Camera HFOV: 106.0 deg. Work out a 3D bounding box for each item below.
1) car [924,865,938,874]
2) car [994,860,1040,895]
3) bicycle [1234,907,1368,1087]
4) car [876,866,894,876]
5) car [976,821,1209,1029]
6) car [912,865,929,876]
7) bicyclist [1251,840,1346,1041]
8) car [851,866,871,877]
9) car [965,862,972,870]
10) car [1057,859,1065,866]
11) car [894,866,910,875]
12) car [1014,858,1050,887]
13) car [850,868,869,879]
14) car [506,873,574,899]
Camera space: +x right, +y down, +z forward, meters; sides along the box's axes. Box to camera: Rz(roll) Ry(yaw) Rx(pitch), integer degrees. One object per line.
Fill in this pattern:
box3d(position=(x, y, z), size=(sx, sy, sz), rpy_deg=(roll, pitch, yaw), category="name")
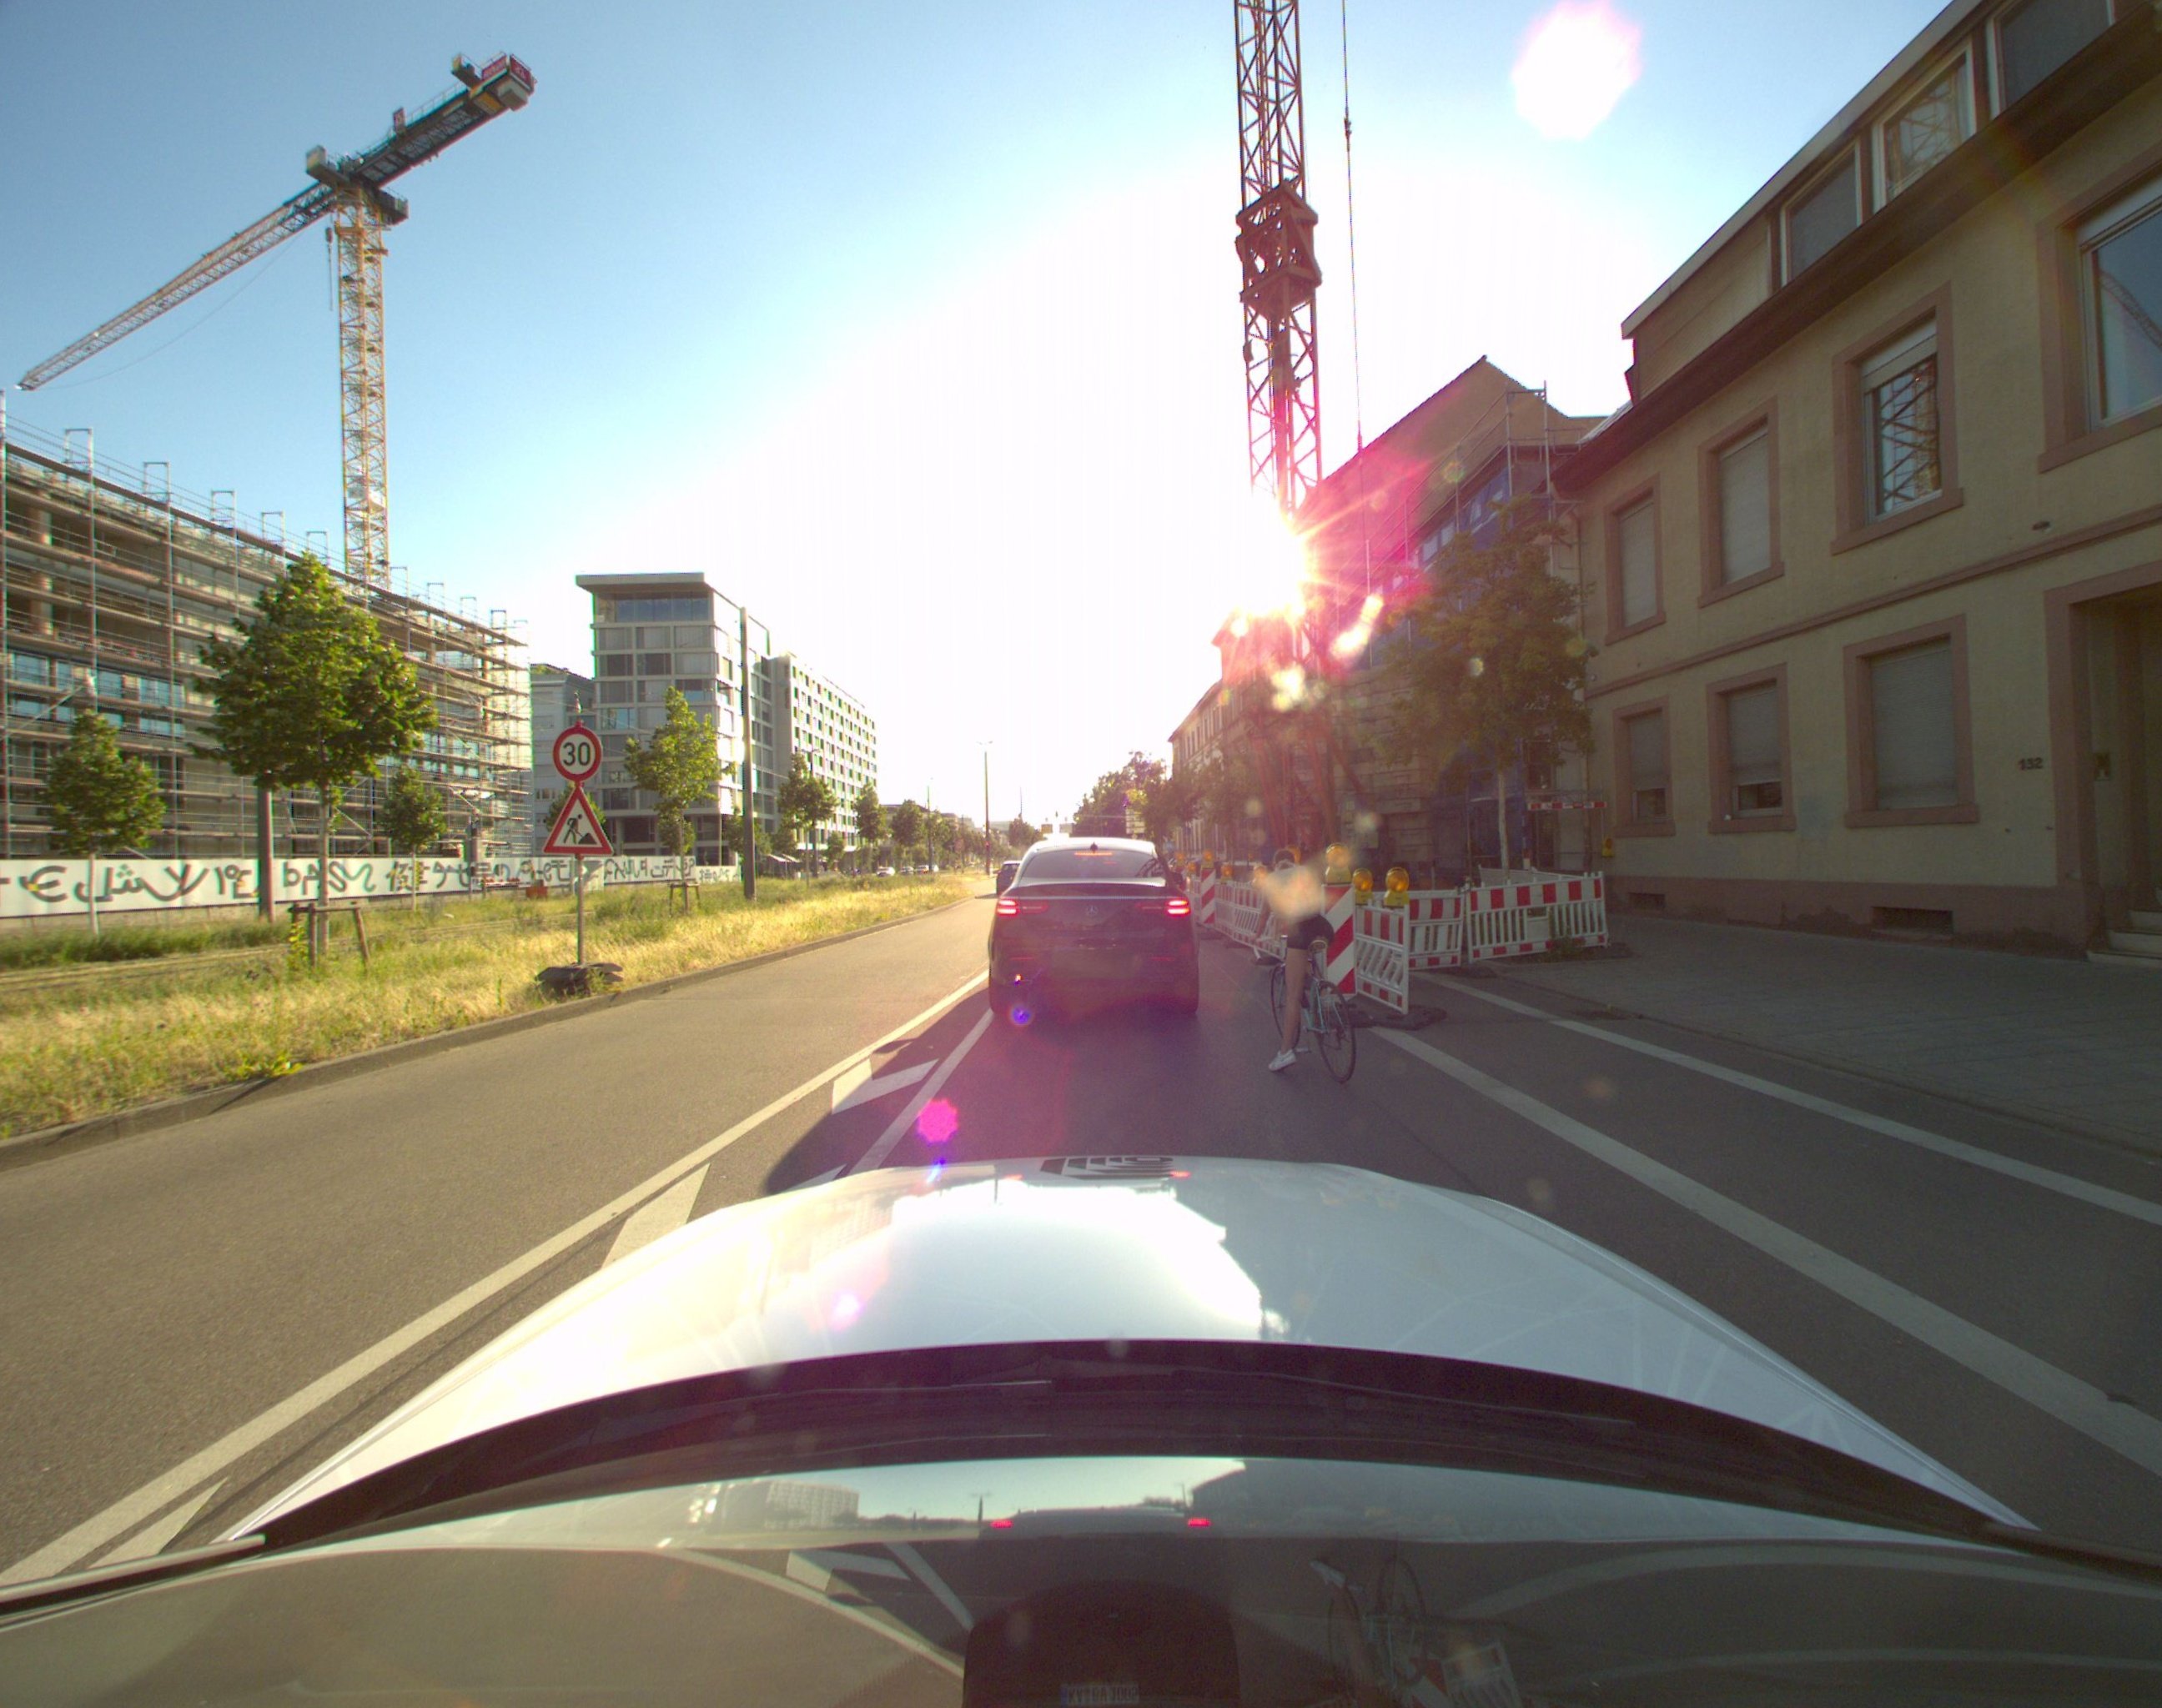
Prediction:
box3d(position=(-25.229, 2.678, 137.485), size=(1.703, 1.442, 3.581), rpy_deg=(0, -1, 0), category="car")
box3d(position=(-2.748, 0.988, 35.629), size=(1.703, 1.442, 3.581), rpy_deg=(0, -1, 0), category="car")
box3d(position=(1.585, 0.978, 6.125), size=(0.511, 1.052, 1.724), rpy_deg=(0, -1, -1), category="bicycle")
box3d(position=(-28.057, 2.398, 116.387), size=(1.703, 1.442, 3.581), rpy_deg=(0, -1, 0), category="car")
box3d(position=(0.161, 0.628, 8.987), size=(1.986, 1.772, 4.001), rpy_deg=(0, -1, 2), category="car")
box3d(position=(-22.714, 2.349, 115.615), size=(1.703, 1.442, 3.581), rpy_deg=(0, -1, 0), category="car")
box3d(position=(1.585, 0.603, 6.002), size=(0.521, 1.395, 0.614), rpy_deg=(0, -1, -1), category="bicyclist")
box3d(position=(-30.623, 2.400, 113.397), size=(1.703, 1.442, 3.581), rpy_deg=(0, -1, 0), category="car")
box3d(position=(-32.028, 3.374, 231.492), size=(1.994, 2.014, 3.986), rpy_deg=(0, -1, -10), category="car")
box3d(position=(-4.555, 1.908, 184.502), size=(1.703, 1.442, 3.581), rpy_deg=(0, -1, 0), category="car")
box3d(position=(-28.447, 2.638, 129.409), size=(1.703, 1.442, 3.581), rpy_deg=(0, -1, 0), category="car")
box3d(position=(-2.545, 0.969, 42.980), size=(1.703, 1.442, 3.581), rpy_deg=(0, -1, 0), category="car")
box3d(position=(-32.193, 2.831, 118.539), size=(1.703, 1.442, 3.581), rpy_deg=(0, -1, 0), category="car")
box3d(position=(-32.561, 1.895, 49.163), size=(1.703, 1.442, 3.581), rpy_deg=(0, -1, 0), category="car")
